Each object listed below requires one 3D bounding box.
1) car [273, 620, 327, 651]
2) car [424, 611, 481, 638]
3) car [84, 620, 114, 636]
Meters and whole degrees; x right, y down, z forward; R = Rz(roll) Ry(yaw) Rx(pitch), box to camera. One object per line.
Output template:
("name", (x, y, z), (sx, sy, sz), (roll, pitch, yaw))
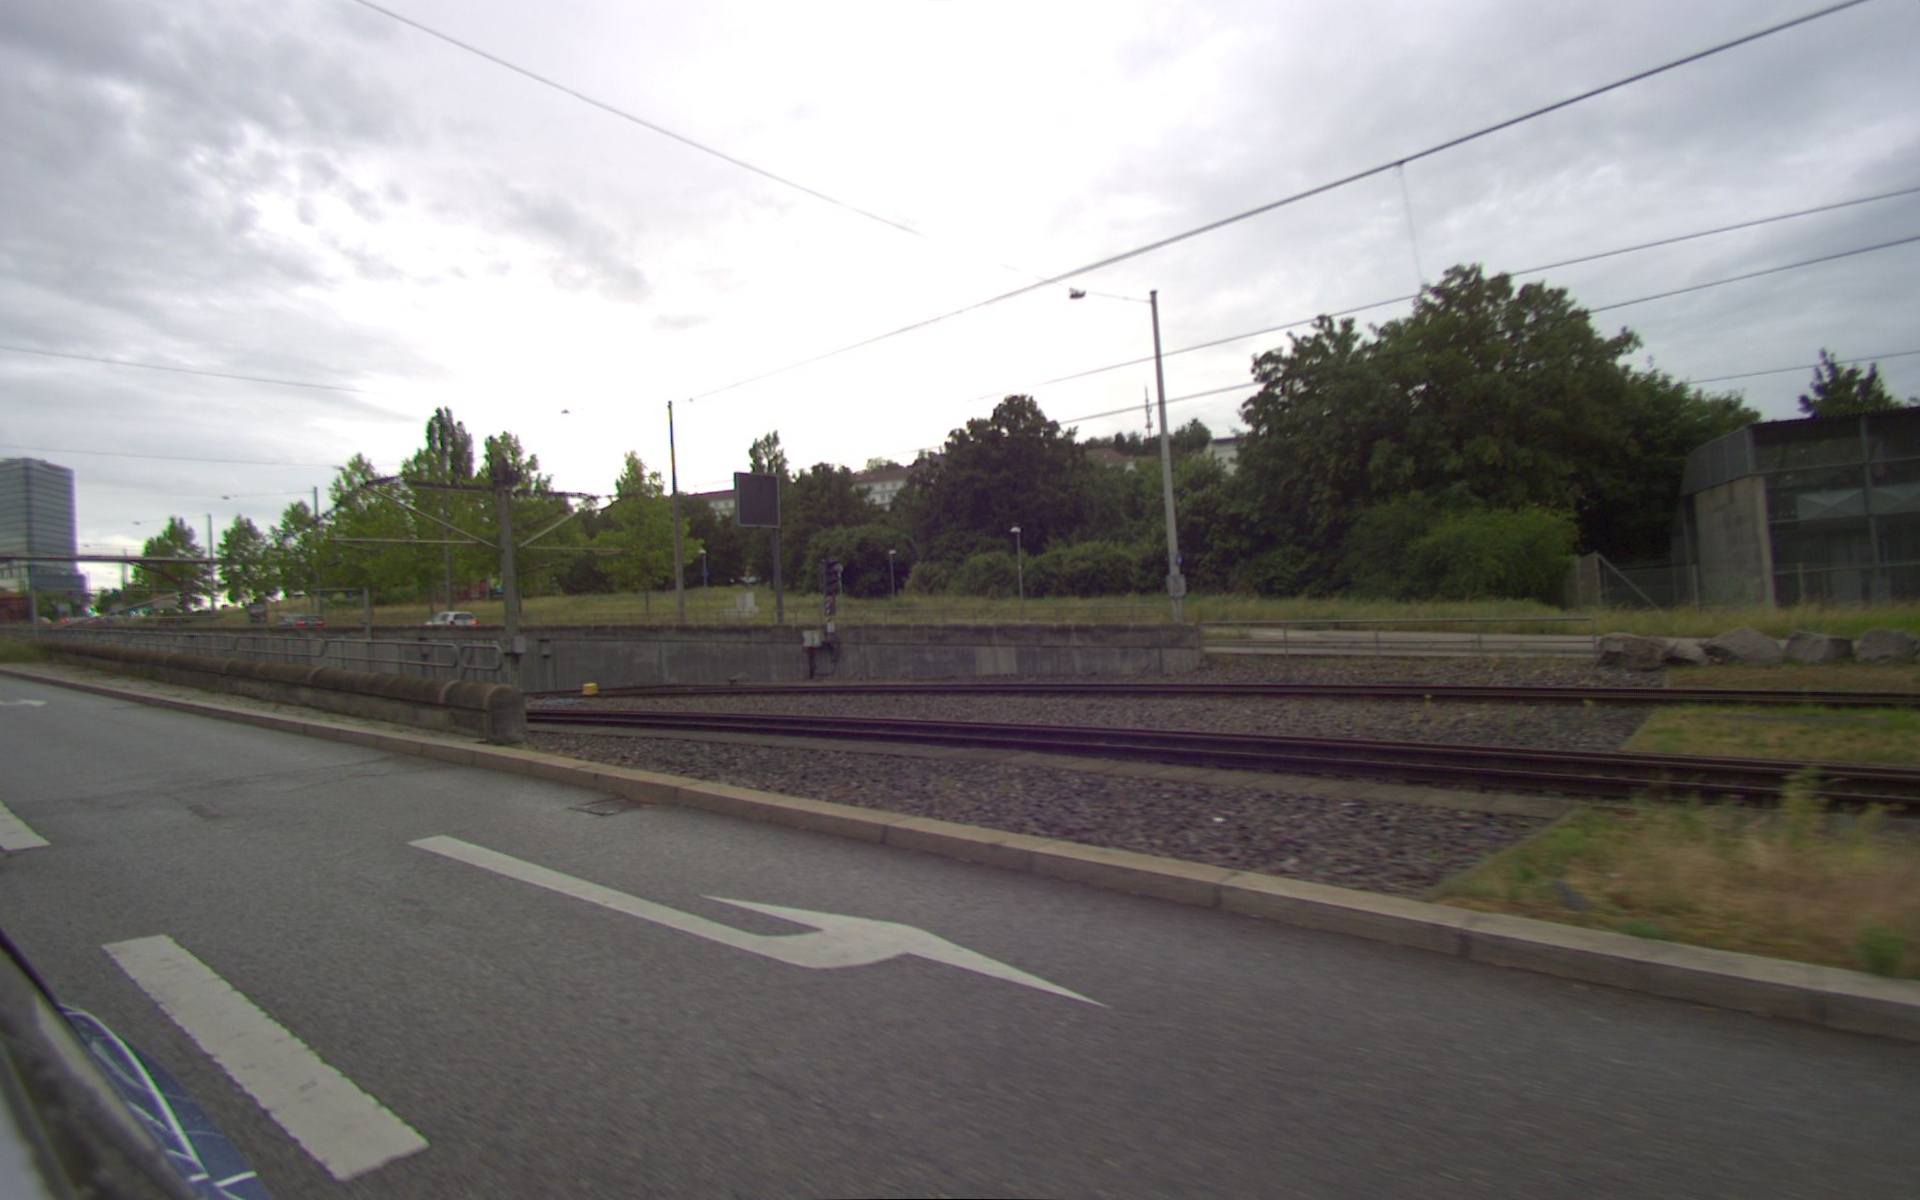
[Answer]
("car", (-46.538, 2.513, 71.321), (4.029, 1.985, 1.874), (-2, 2, 38))
("car", (-27.700, 1.341, 55.171), (3.557, 1.301, 1.539), (-2, 0, 41))
("car", (-99.247, 3.251, 116.609), (4.355, 1.656, 1.872), (-2, 2, 41))
